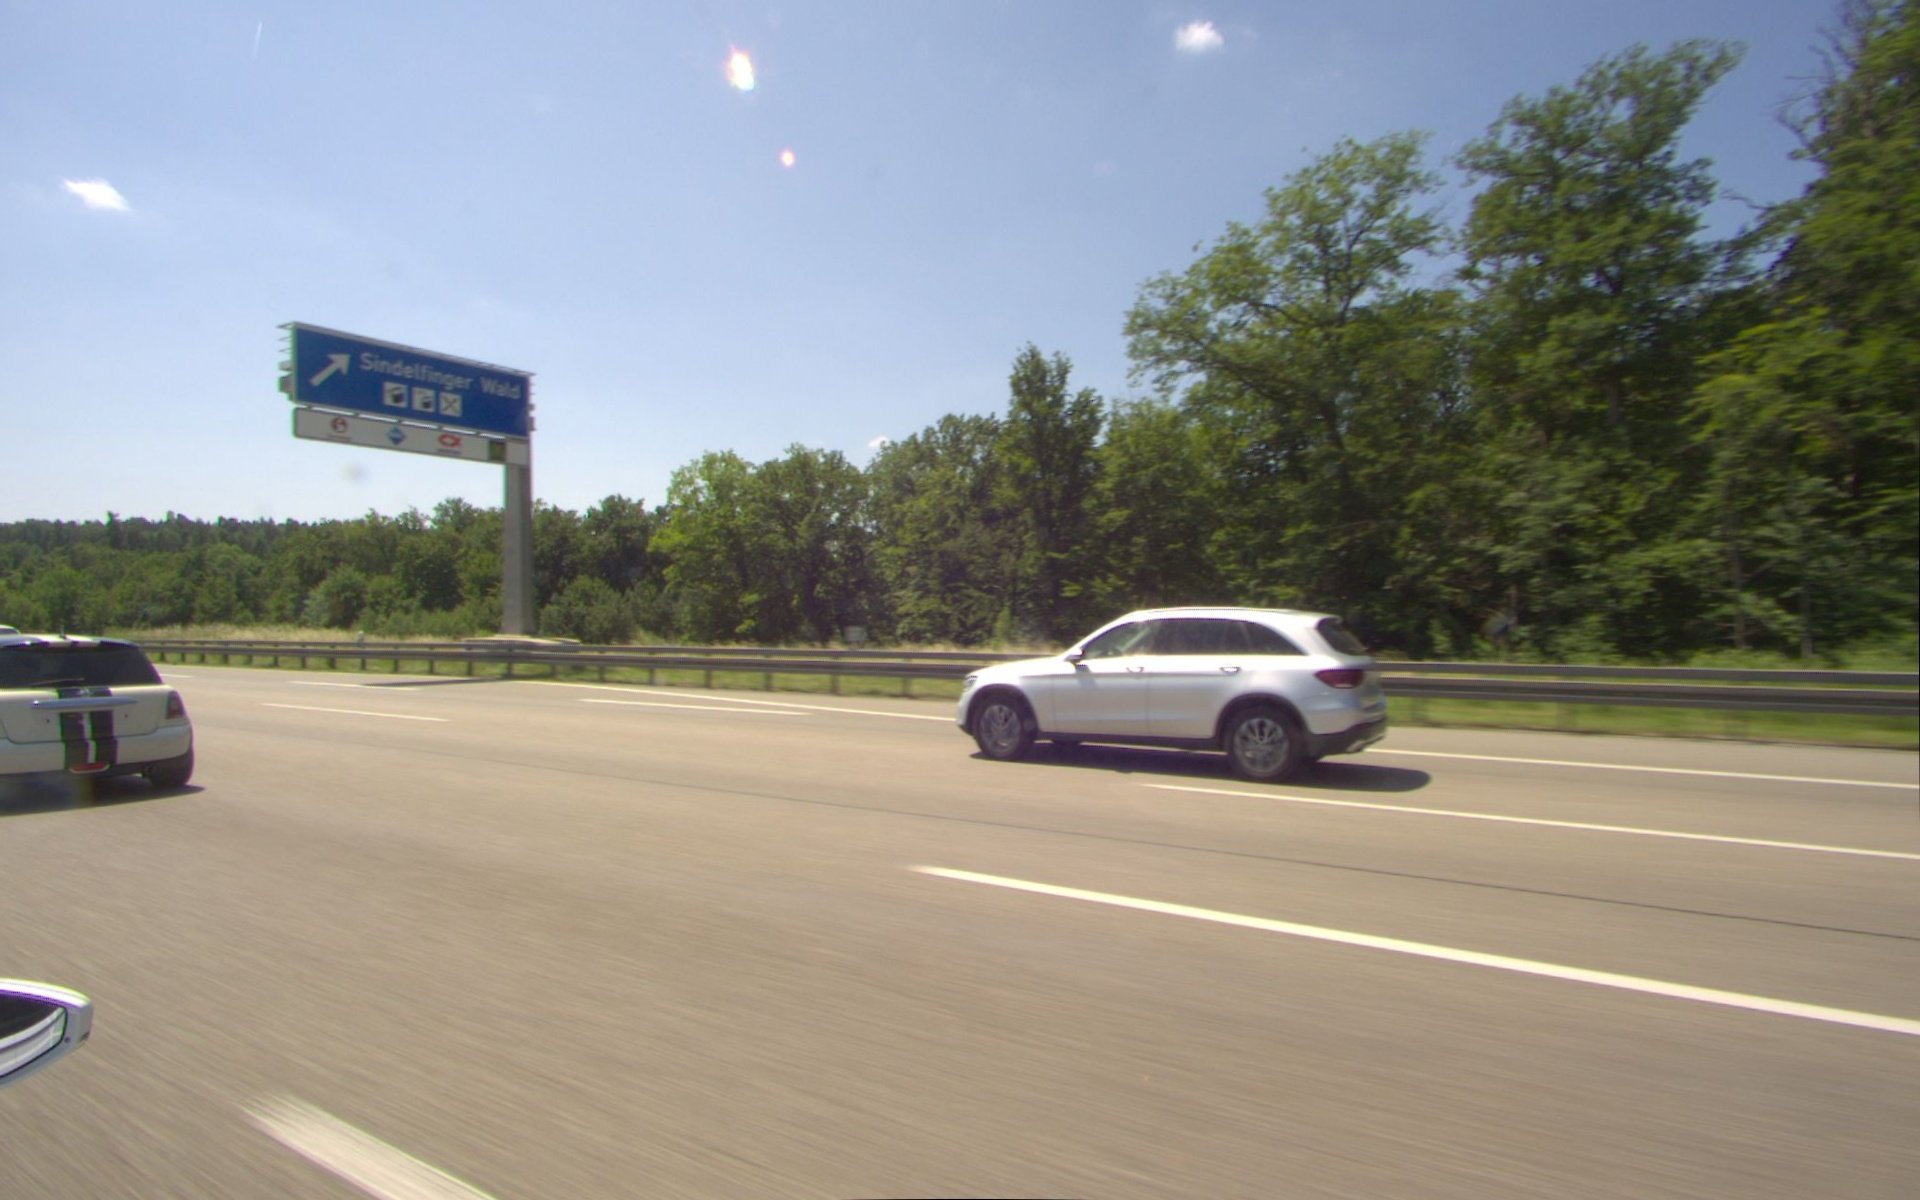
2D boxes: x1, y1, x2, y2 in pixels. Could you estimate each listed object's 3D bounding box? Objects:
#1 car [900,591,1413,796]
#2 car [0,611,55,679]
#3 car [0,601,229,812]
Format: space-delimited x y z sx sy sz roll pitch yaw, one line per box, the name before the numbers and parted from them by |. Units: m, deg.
car | 1.981 0.827 10.900 5.163 1.753 1.798 1 -1 32
car | -23.010 1.022 23.335 4.312 1.453 1.662 0 3 32
car | -8.710 0.825 9.293 3.943 1.572 1.837 1 0 33
